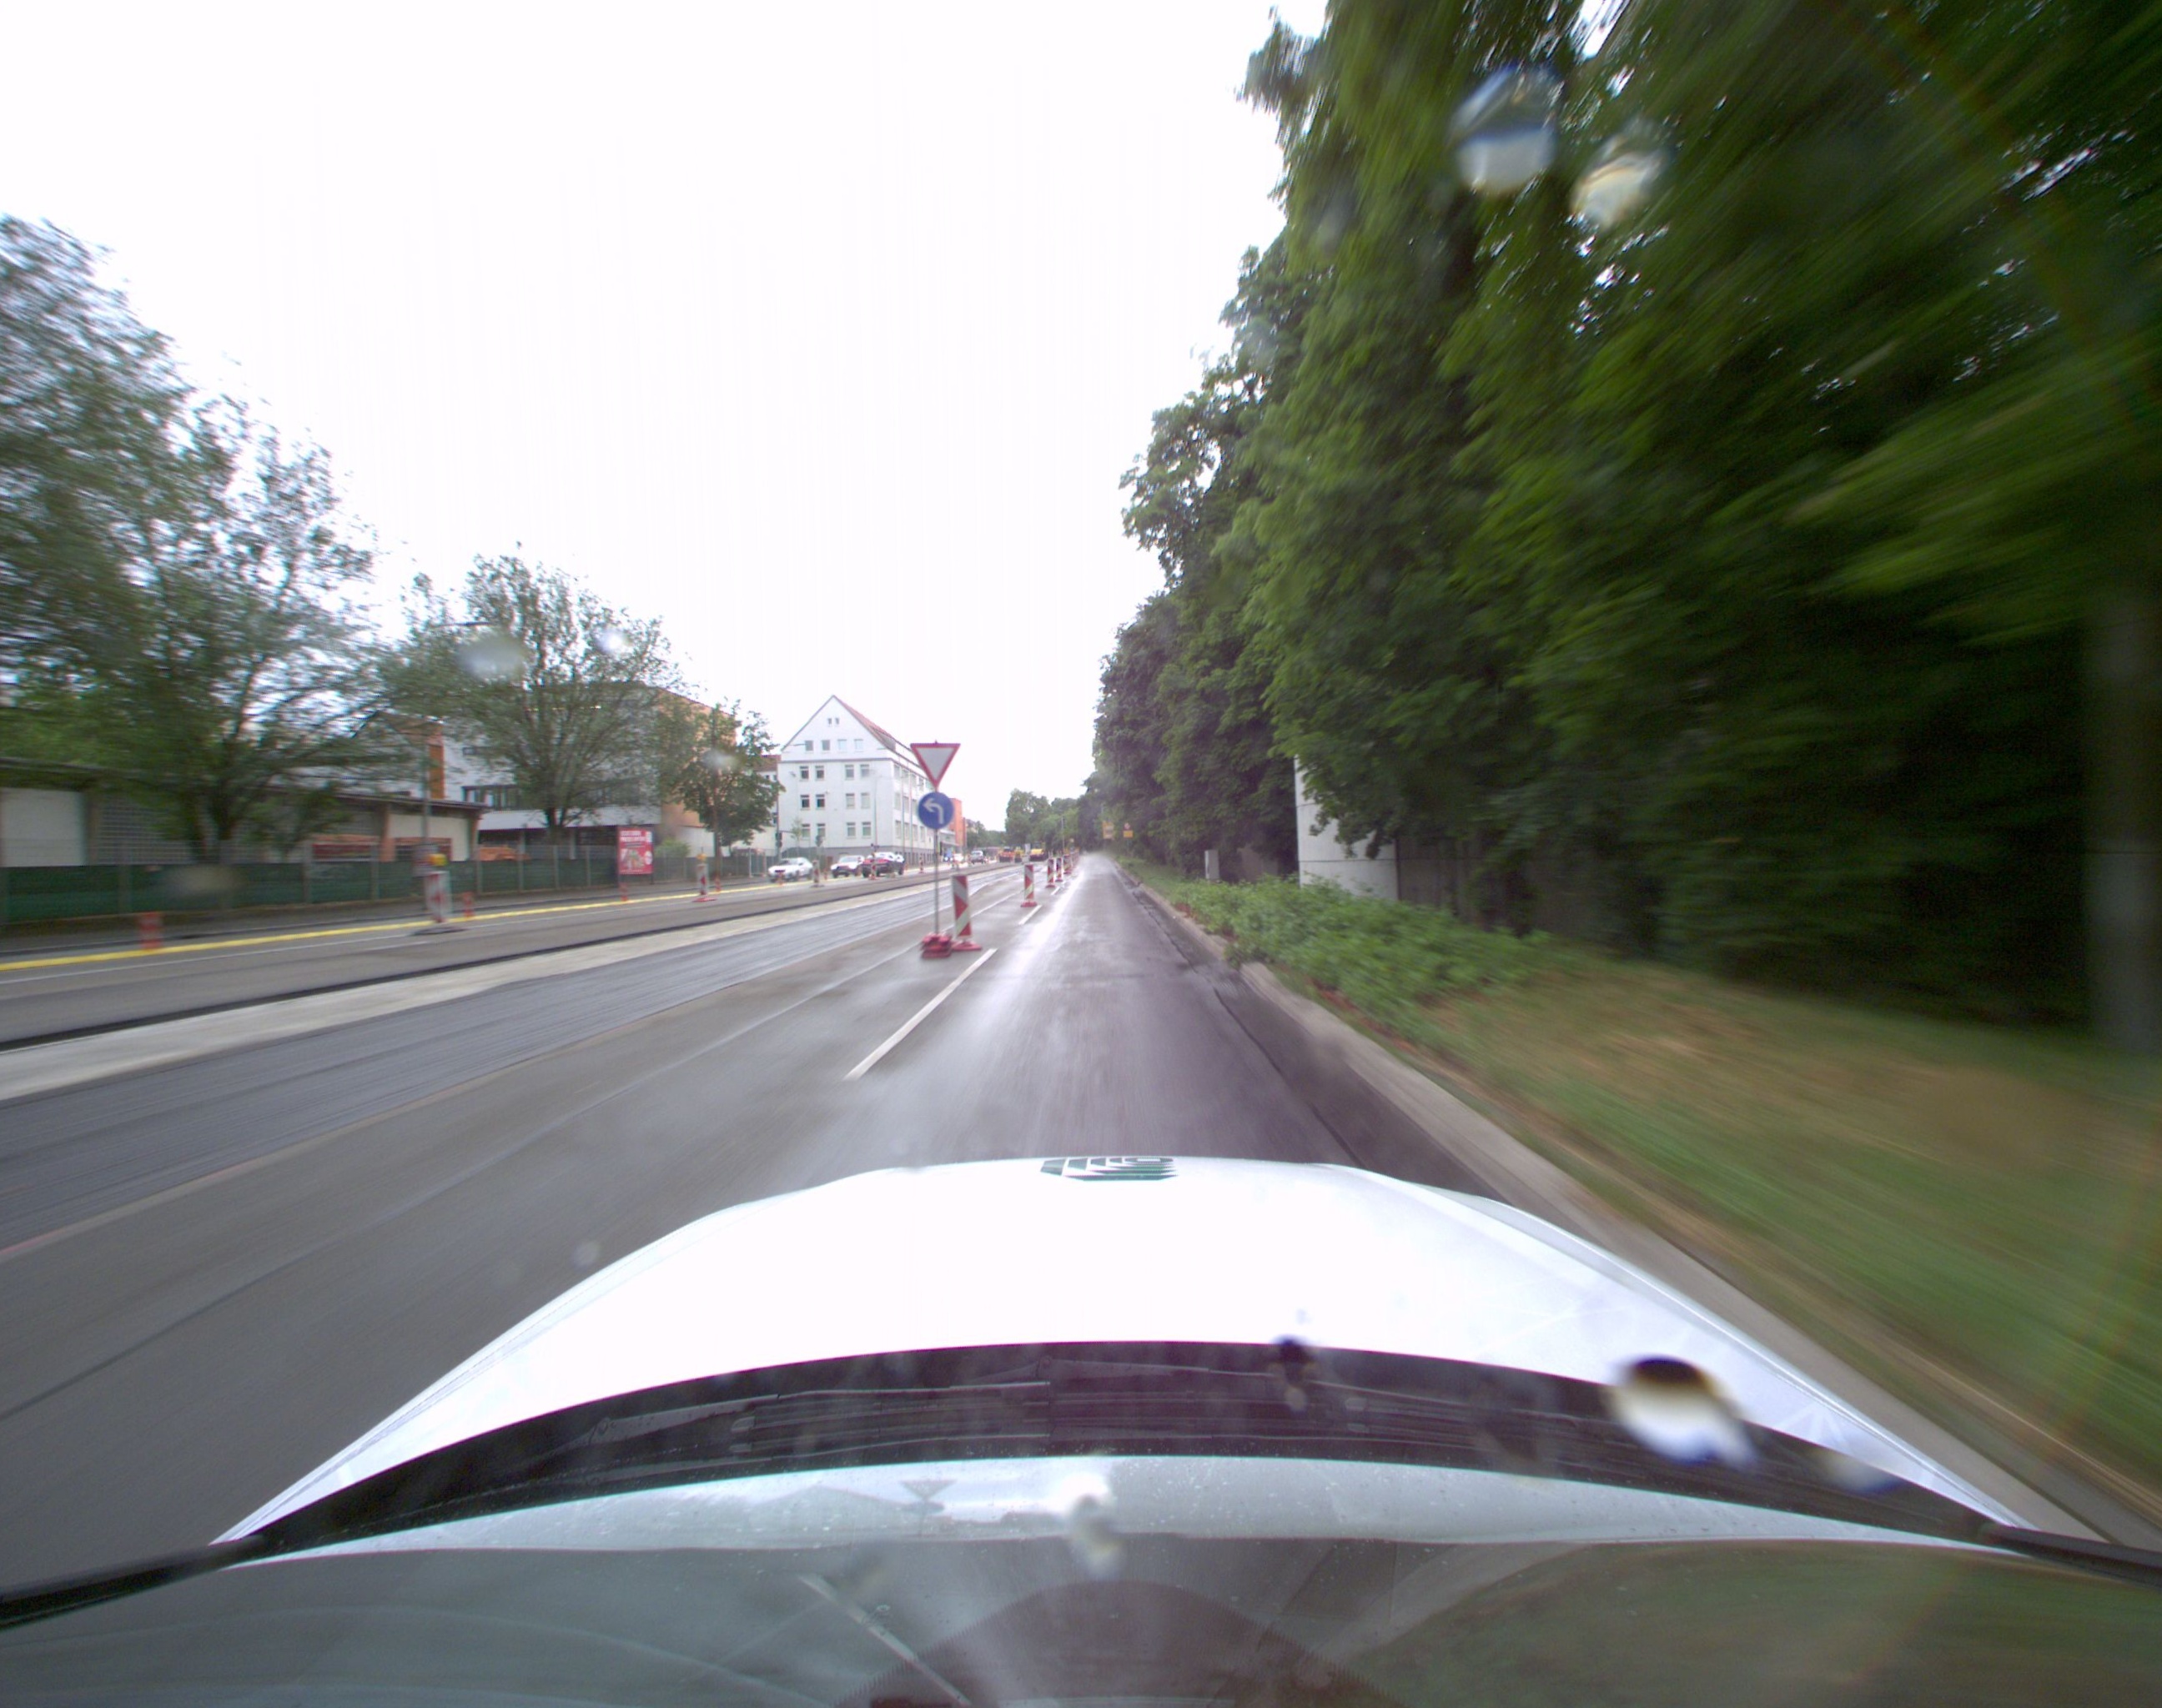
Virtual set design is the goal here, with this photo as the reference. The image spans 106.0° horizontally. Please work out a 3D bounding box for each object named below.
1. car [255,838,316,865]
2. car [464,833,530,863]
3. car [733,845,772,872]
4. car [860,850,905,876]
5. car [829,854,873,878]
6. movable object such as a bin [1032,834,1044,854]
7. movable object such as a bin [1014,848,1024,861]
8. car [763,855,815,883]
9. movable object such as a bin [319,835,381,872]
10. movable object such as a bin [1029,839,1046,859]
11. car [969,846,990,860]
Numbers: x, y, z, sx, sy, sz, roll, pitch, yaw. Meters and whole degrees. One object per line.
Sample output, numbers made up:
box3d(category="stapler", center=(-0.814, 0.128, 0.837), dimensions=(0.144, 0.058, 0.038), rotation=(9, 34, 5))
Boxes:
box3d(category="car", center=(-34.341, -0.084, 35.129), dimensions=(3.973, 1.062, 1.764), rotation=(-2, 0, 44))
box3d(category="car", center=(-33.151, -0.334, 46.223), dimensions=(3.971, 1.527, 2.013), rotation=(-2, 0, 39))
box3d(category="car", center=(-27.860, 0.342, 69.141), dimensions=(1.605, 2.170, 4.000), rotation=(-2, 0, 0))
box3d(category="car", center=(-13.806, 0.606, 56.969), dimensions=(1.886, 1.650, 4.397), rotation=(-1, 0, 2))
box3d(category="car", center=(-17.166, 0.873, 60.971), dimensions=(1.852, 1.619, 4.366), rotation=(-4, 0, 1))
box3d(category="movable object such as a bin", center=(-6.725, -1.616, 128.248), dimensions=(1.461, 3.008, 3.723), rotation=(-4, 0, -1))
box3d(category="movable object such as a bin", center=(-7.937, 0.016, 104.535), dimensions=(1.080, 1.644, 2.438), rotation=(-2, 0, 0))
box3d(category="car", center=(-20.135, 1.020, 56.352), dimensions=(1.852, 1.706, 4.366), rotation=(-4, 0, 1))
box3d(category="movable object such as a bin", center=(-32.884, -0.014, 36.592), dimensions=(3.973, 1.527, 1.764), rotation=(-2, 0, 44))
box3d(category="movable object such as a bin", center=(-6.049, -0.721, 112.880), dimensions=(1.896, 2.609, 5.383), rotation=(-2, 0, 1))
box3d(category="car", center=(-13.005, -0.133, 104.428), dimensions=(1.886, 1.650, 4.397), rotation=(-1, 0, 2))
